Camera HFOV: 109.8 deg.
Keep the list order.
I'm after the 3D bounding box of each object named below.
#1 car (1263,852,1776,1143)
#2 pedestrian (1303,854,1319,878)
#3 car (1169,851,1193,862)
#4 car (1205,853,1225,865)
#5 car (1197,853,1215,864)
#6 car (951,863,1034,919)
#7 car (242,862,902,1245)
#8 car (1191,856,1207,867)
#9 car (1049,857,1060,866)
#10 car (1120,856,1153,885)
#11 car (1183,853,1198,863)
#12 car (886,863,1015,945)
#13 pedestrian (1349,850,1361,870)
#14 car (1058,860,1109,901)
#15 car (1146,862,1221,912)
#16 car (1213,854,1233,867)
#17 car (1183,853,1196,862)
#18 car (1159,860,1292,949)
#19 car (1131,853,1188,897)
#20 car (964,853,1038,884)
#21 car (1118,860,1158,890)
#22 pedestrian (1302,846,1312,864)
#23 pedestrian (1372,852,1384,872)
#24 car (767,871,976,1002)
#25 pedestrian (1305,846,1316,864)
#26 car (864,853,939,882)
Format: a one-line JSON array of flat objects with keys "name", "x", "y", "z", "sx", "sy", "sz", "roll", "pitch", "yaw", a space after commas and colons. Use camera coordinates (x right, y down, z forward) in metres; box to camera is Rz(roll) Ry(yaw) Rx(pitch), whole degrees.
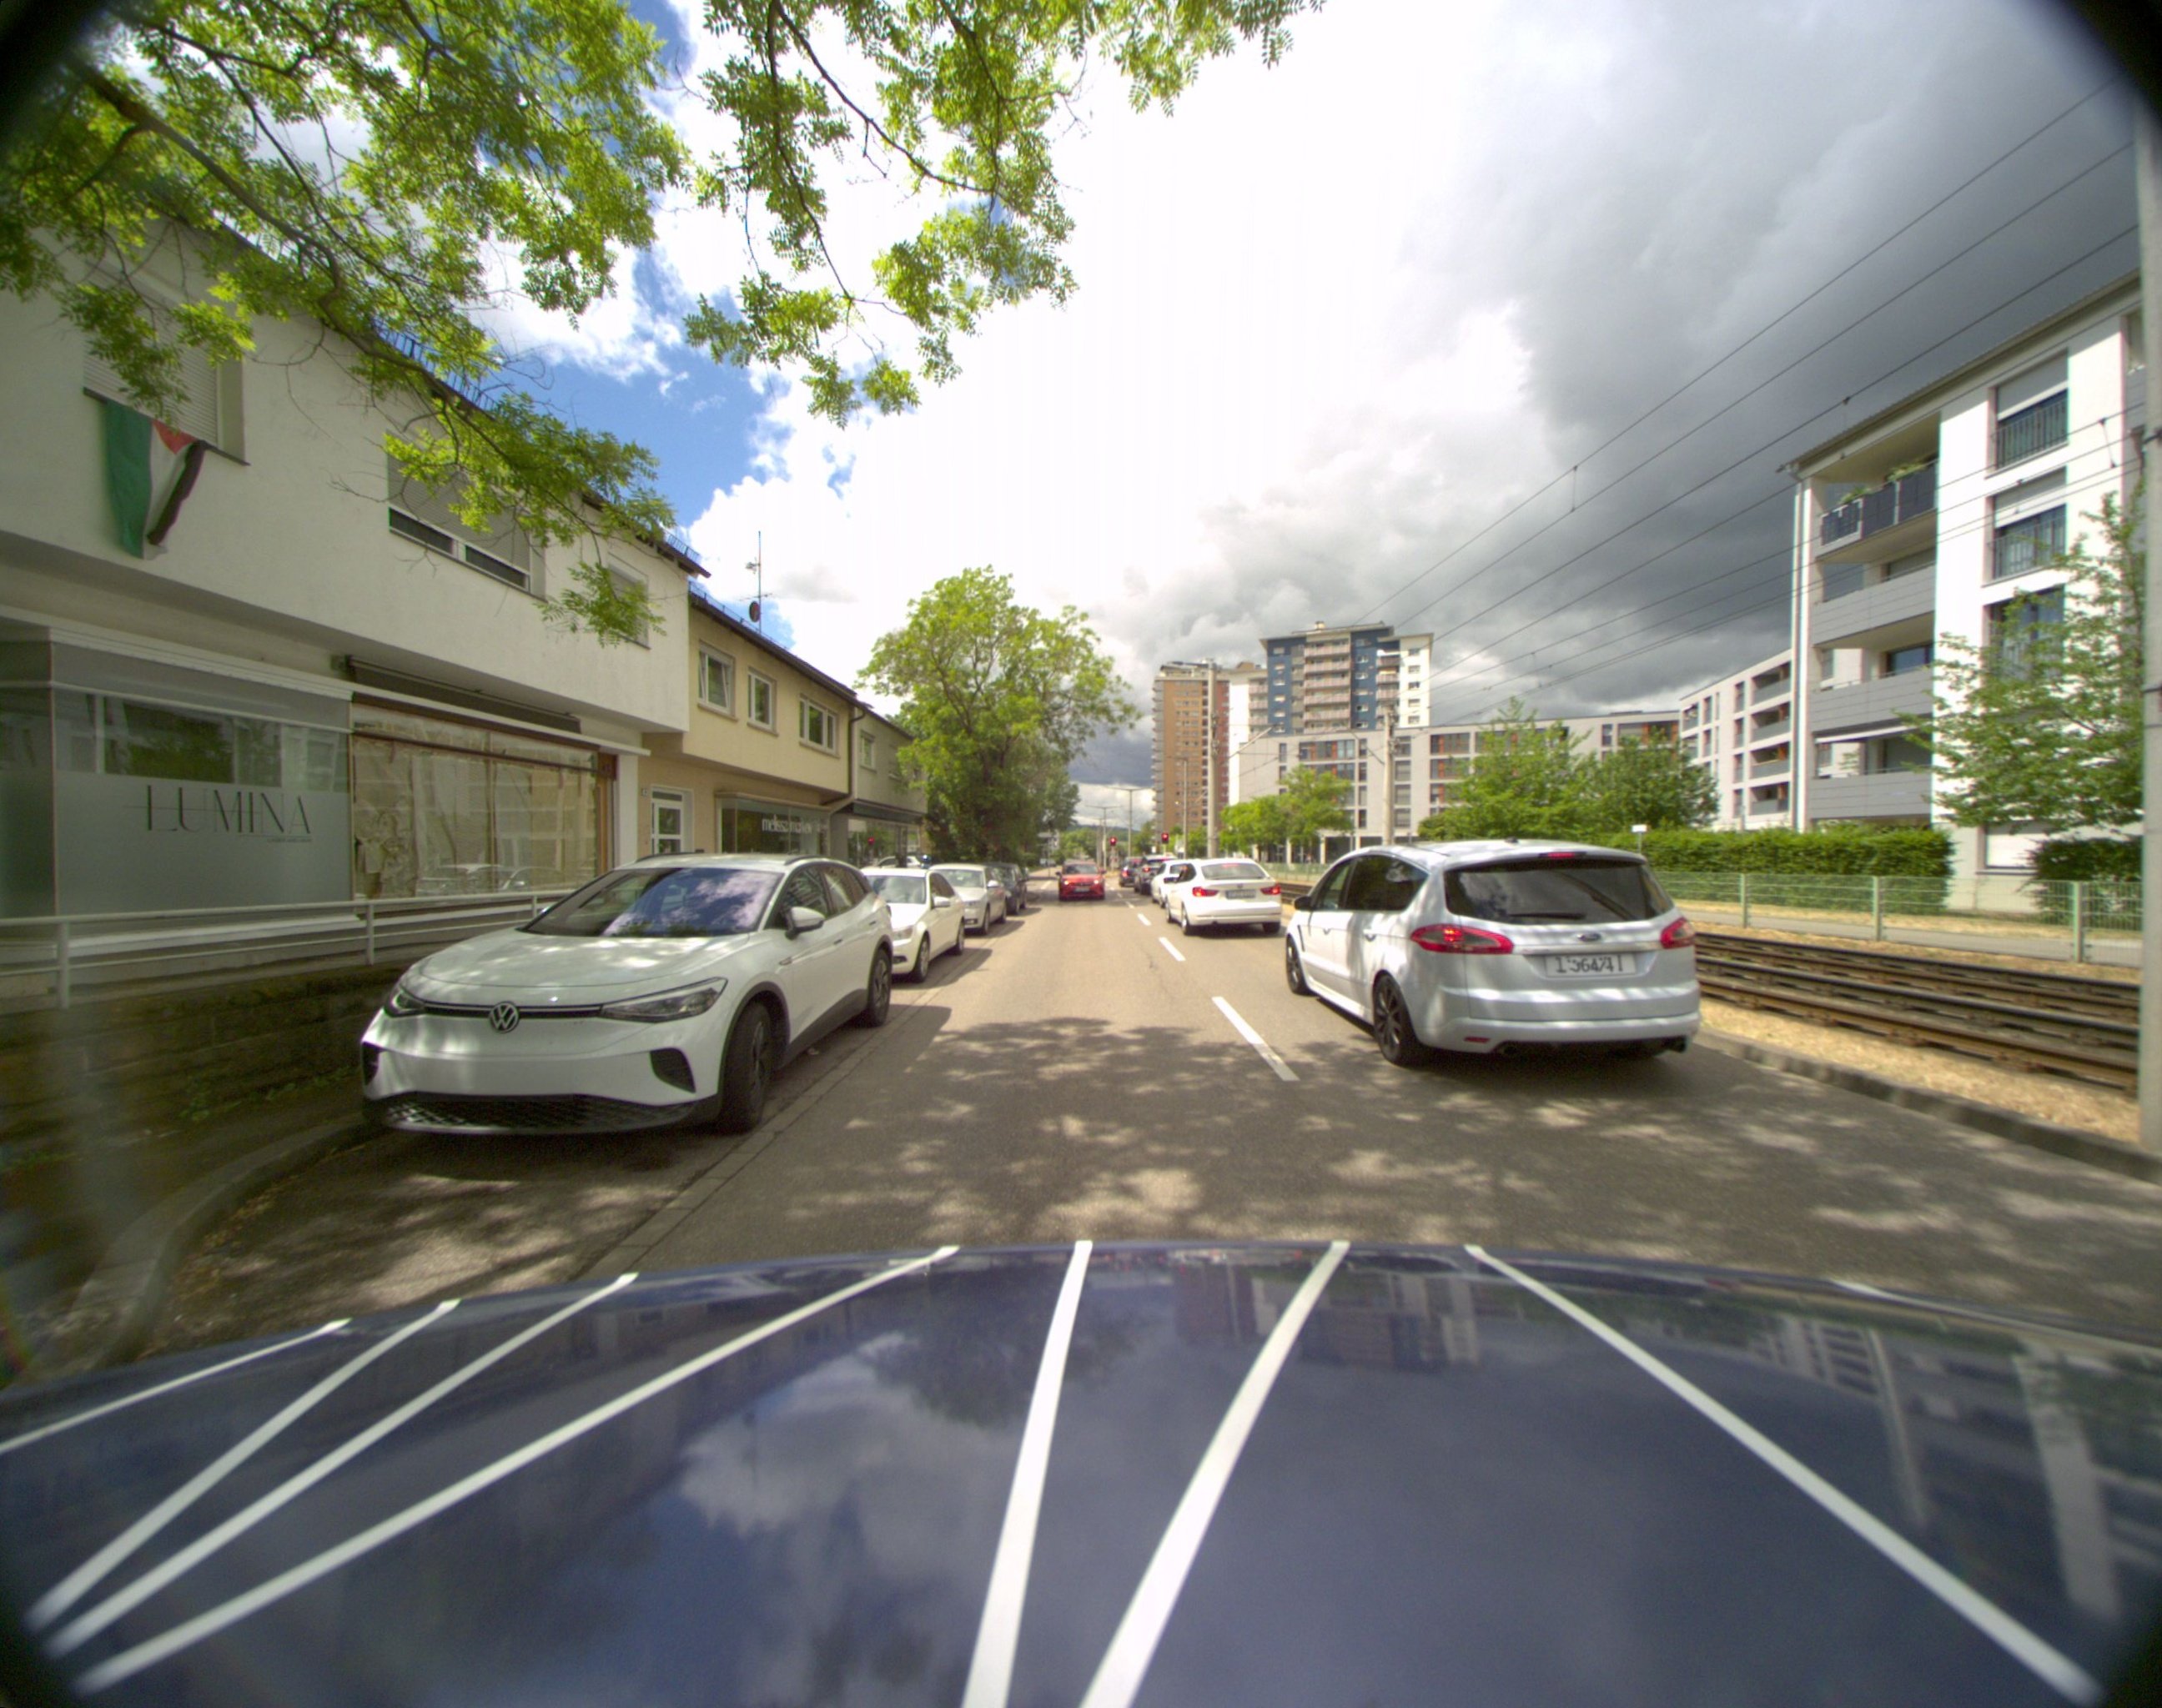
[{"name": "car", "x": 3.044, "y": 0.814, "z": 6.620, "sx": 1.822, "sy": 1.604, "sz": 4.601, "roll": -2, "pitch": 0, "yaw": 1}, {"name": "pedestrian", "x": 15.209, "y": 0.779, "z": 50.230, "sx": 0.756, "sy": 1.603, "sz": 0.938, "roll": -1, "pitch": 1, "yaw": 0}, {"name": "car", "x": 18.869, "y": 0.457, "z": 142.892, "sx": 4.505, "sy": 1.914, "sz": 1.877, "roll": -1, "pitch": 0, "yaw": -40}, {"name": "car", "x": 17.494, "y": 0.674, "z": 99.271, "sx": 1.893, "sy": 1.530, "sz": 3.804, "roll": -1, "pitch": 0, "yaw": 1}, {"name": "car", "x": 17.352, "y": 0.587, "z": 105.527, "sx": 1.781, "sy": 1.530, "sz": 3.803, "roll": -1, "pitch": 0, "yaw": 0}, {"name": "car", "x": -2.527, "y": 1.020, "z": 22.667, "sx": 1.818, "sy": 1.455, "sz": 4.041, "roll": -1, "pitch": 0, "yaw": 3}, {"name": "car", "x": -2.788, "y": 0.914, "z": 5.605, "sx": 1.842, "sy": 1.634, "sz": 4.429, "roll": -1, "pitch": 0, "yaw": 0}, {"name": "car", "x": 17.328, "y": 1.027, "z": 111.834, "sx": 1.781, "sy": 1.530, "sz": 3.803, "roll": -1, "pitch": 0, "yaw": 0}, {"name": "car", "x": -4.693, "y": 1.355, "z": 136.352, "sx": 1.843, "sy": 1.648, "sz": 3.789, "roll": -1, "pitch": 0, "yaw": 0}, {"name": "car", "x": 3.342, "y": 0.956, "z": 46.652, "sx": 1.862, "sy": 1.650, "sz": 4.176, "roll": -1, "pitch": 0, "yaw": 2}, {"name": "car", "x": 16.997, "y": 0.602, "z": 118.473, "sx": 1.781, "sy": 1.530, "sz": 3.803, "roll": -1, "pitch": 0, "yaw": 0}, {"name": "car", "x": -2.725, "y": 0.995, "z": 17.092, "sx": 1.818, "sy": 1.490, "sz": 4.911, "roll": -1, "pitch": 0, "yaw": 3}, {"name": "pedestrian", "x": 27.753, "y": 0.592, "z": 76.915, "sx": 0.734, "sy": 2.002, "sz": 0.910, "roll": -1, "pitch": 1, "yaw": -18}, {"name": "car", "x": 0.136, "y": 0.965, "z": 29.512, "sx": 1.791, "sy": 1.387, "sz": 4.242, "roll": -2, "pitch": 0, "yaw": 1}, {"name": "car", "x": 3.160, "y": 0.977, "z": 24.044, "sx": 1.751, "sy": 1.398, "sz": 3.939, "roll": -1, "pitch": 0, "yaw": -1}, {"name": "car", "x": 17.358, "y": 0.769, "z": 92.925, "sx": 1.893, "sy": 1.613, "sz": 3.804, "roll": -1, "pitch": 0, "yaw": 4}, {"name": "car", "x": 19.708, "y": 0.588, "z": 138.512, "sx": 1.781, "sy": 1.650, "sz": 3.803, "roll": -1, "pitch": 0, "yaw": 0}, {"name": "car", "x": 2.845, "y": 0.924, "z": 16.065, "sx": 1.822, "sy": 1.494, "sz": 4.836, "roll": -2, "pitch": 0, "yaw": 0}, {"name": "car", "x": 3.206, "y": 0.828, "z": 31.817, "sx": 1.862, "sy": 1.680, "sz": 4.433, "roll": -1, "pitch": 0, "yaw": -1}, {"name": "car", "x": -4.442, "y": 0.780, "z": 42.382, "sx": 3.642, "sy": 1.562, "sz": 1.843, "roll": 1, "pitch": 1, "yaw": 12}, {"name": "car", "x": 2.944, "y": 1.066, "z": 40.033, "sx": 1.815, "sy": 1.437, "sz": 4.465, "roll": -1, "pitch": 0, "yaw": 1}, {"name": "pedestrian", "x": 20.664, "y": 0.093, "z": 69.373, "sx": 0.749, "sy": 1.644, "sz": 0.538, "roll": -1, "pitch": 1, "yaw": 0}, {"name": "pedestrian", "x": 24.102, "y": 0.666, "z": 61.581, "sx": 0.538, "sy": 1.601, "sz": 0.748, "roll": -1, "pitch": 1, "yaw": -22}, {"name": "car", "x": -2.774, "y": 1.023, "z": 11.148, "sx": 1.729, "sy": 1.418, "sz": 4.446, "roll": -1, "pitch": 0, "yaw": 1}, {"name": "pedestrian", "x": 20.685, "y": 0.079, "z": 68.526, "sx": 0.749, "sy": 1.644, "sz": 0.538, "roll": -1, "pitch": 1, "yaw": 0}, {"name": "car", "x": -9.971, "y": 0.729, "z": 42.346, "sx": 3.939, "sy": 1.510, "sz": 1.800, "roll": 1, "pitch": 0, "yaw": -12}]
